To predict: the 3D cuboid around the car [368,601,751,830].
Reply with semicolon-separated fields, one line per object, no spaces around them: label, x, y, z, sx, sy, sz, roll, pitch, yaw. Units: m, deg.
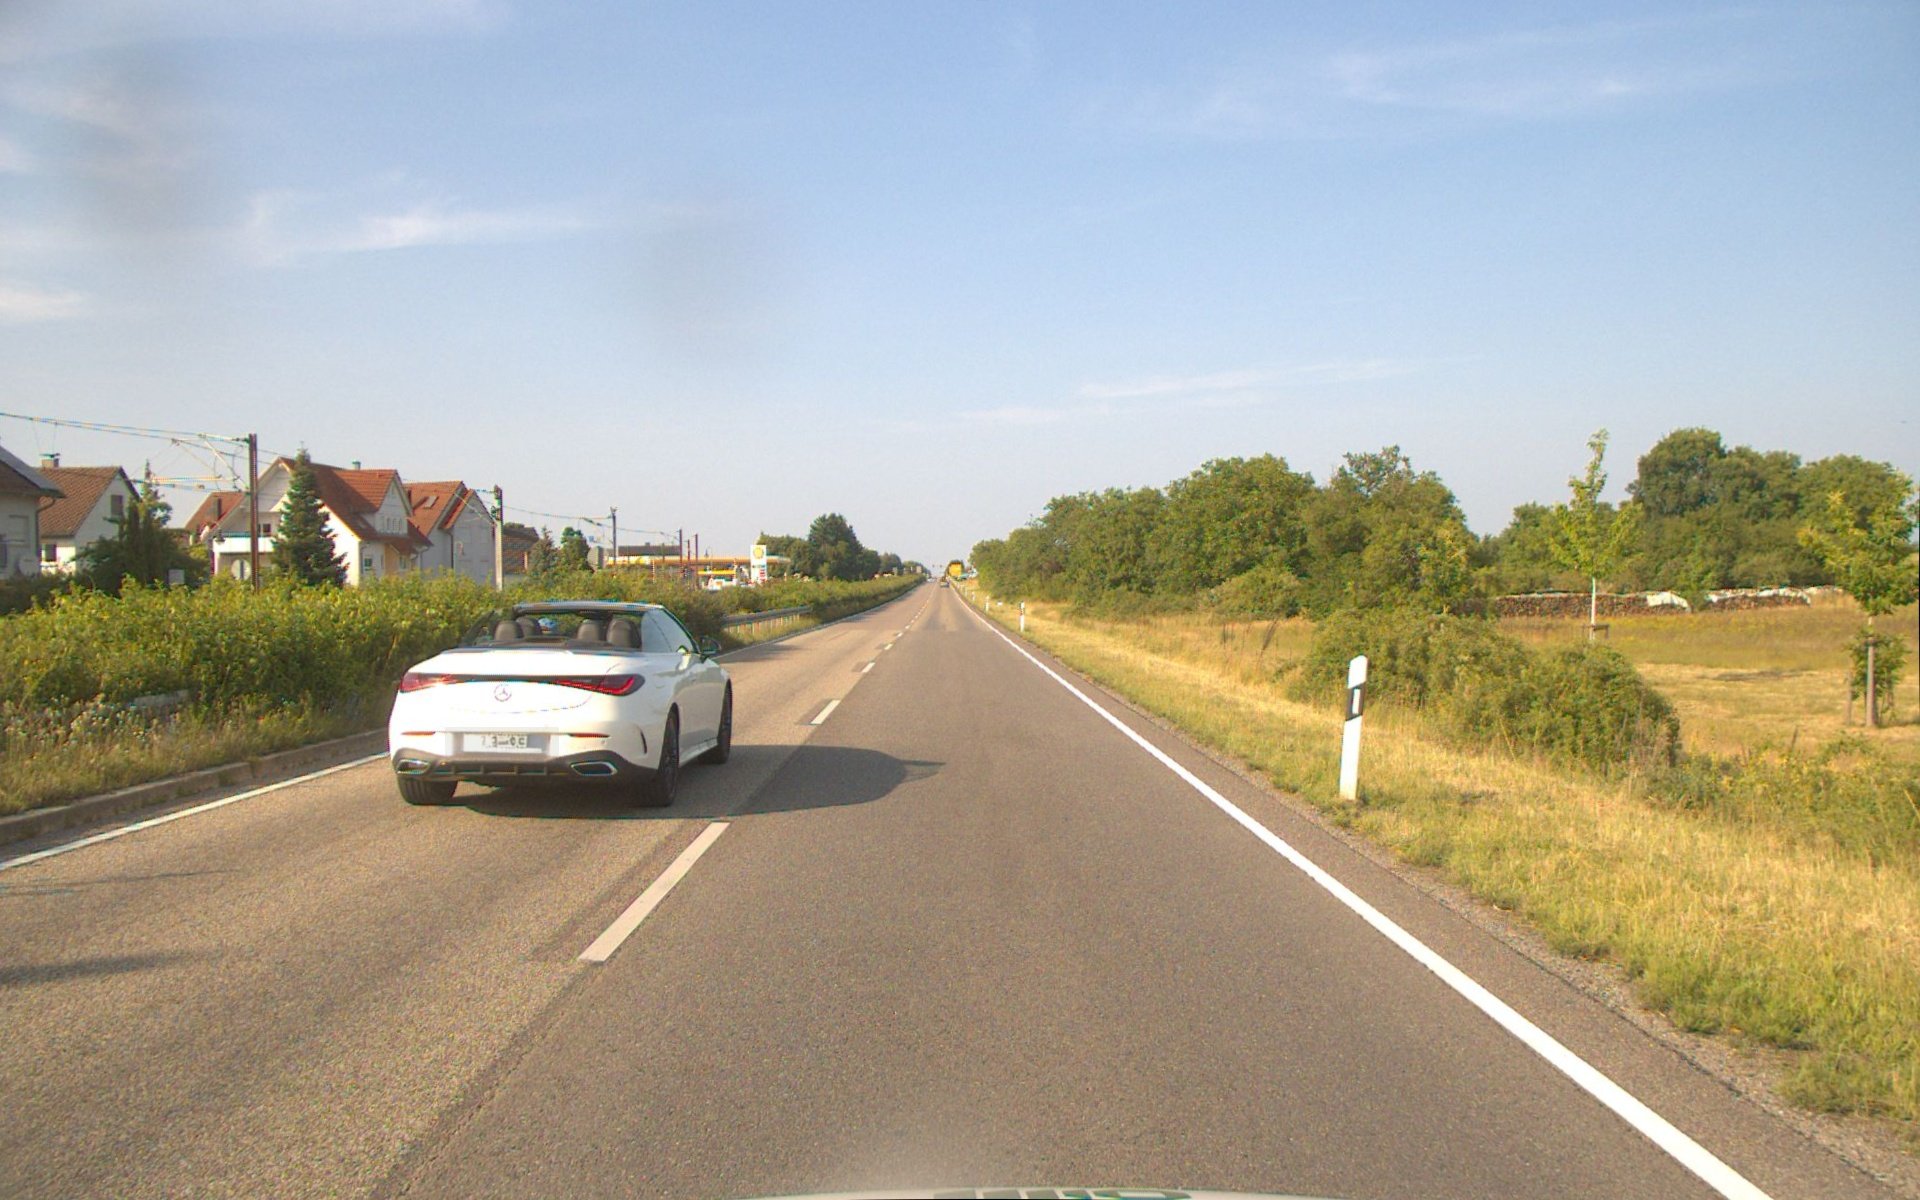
car;-2.775;0.711;12.641;1.735;1.361;4.949;1;0;0
